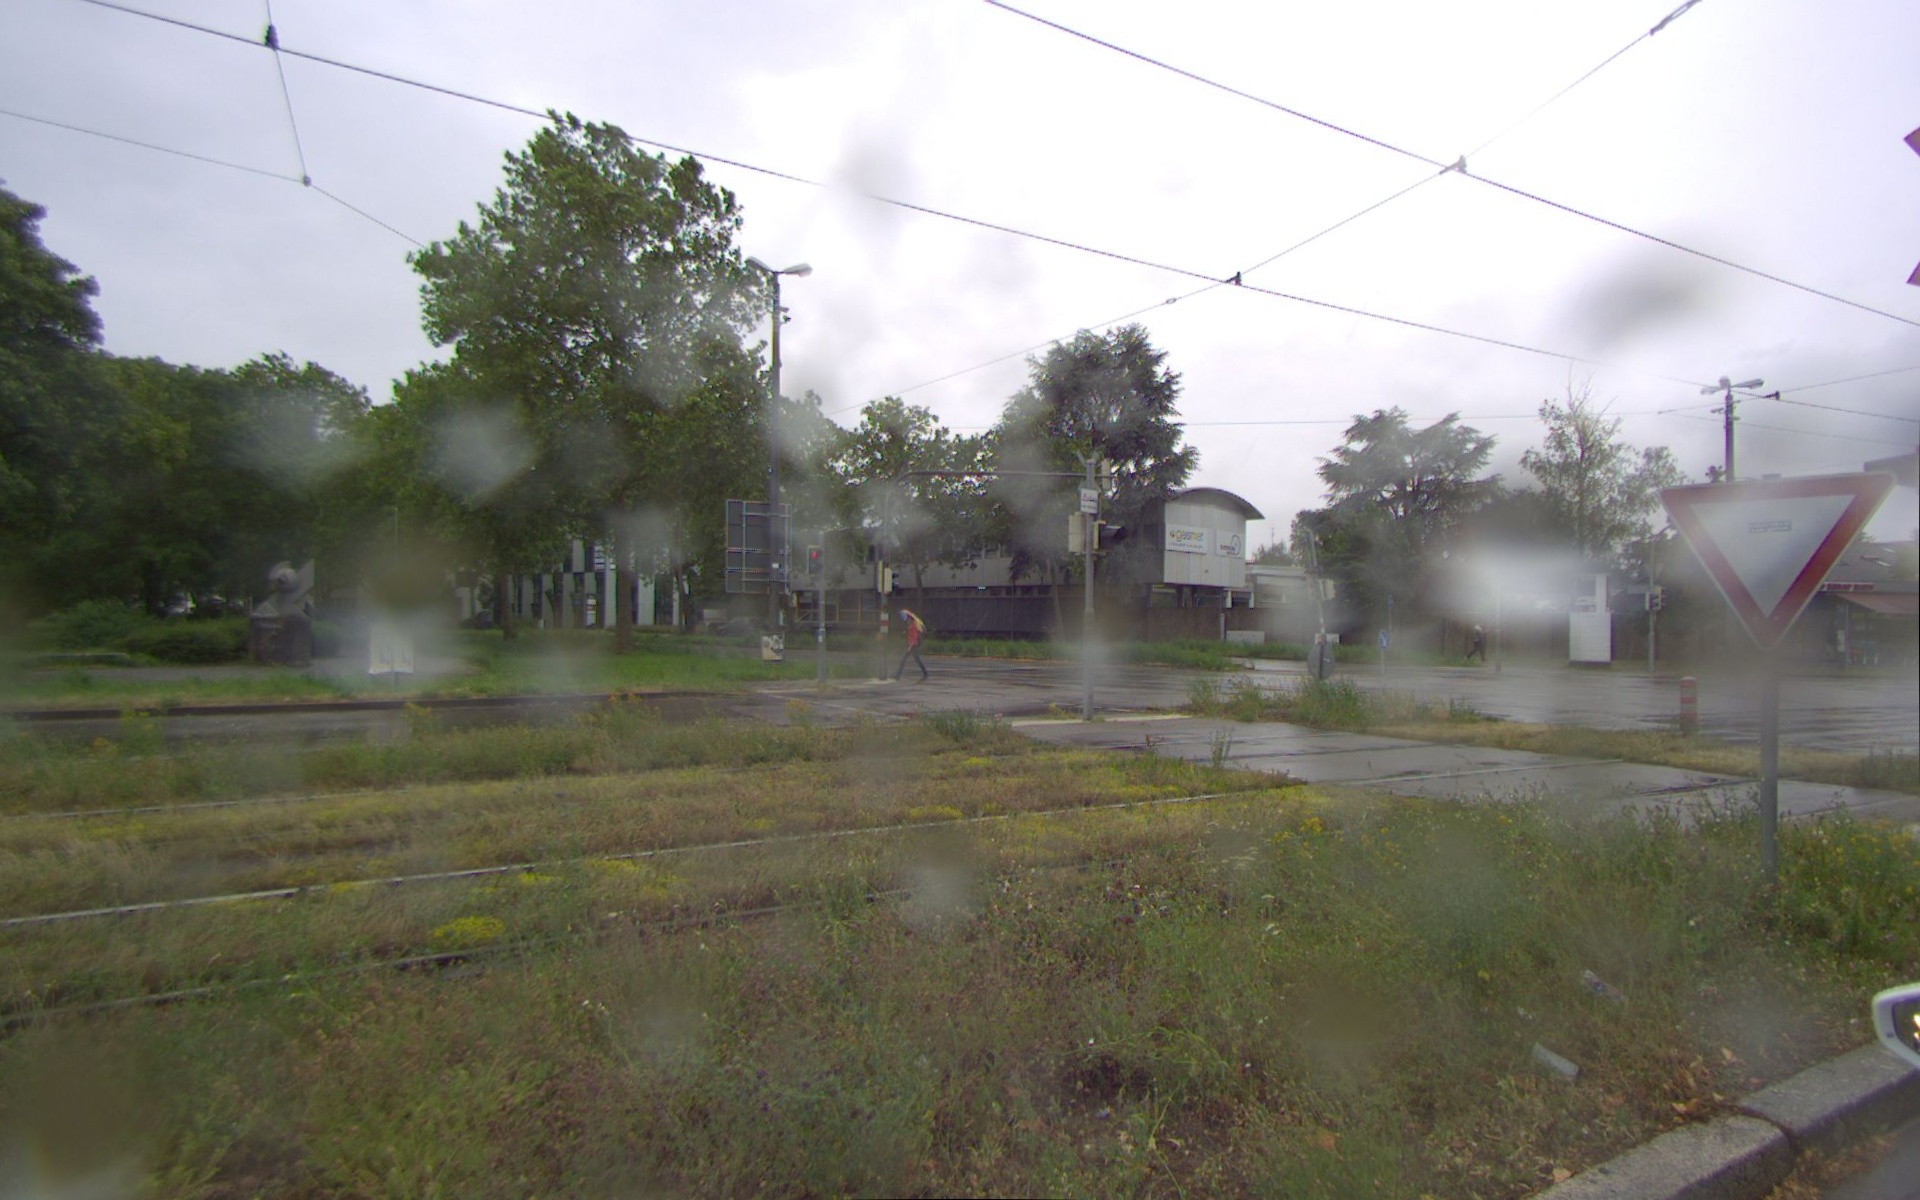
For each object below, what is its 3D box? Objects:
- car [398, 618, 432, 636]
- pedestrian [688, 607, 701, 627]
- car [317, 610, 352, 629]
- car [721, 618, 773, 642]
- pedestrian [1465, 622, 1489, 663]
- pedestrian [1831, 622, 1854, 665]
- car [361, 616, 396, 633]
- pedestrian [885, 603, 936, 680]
[{"bbox_3d":[-59.781,3.002,110.238,3.940,1.806,1.990,2,0,41],"label":"car"},{"bbox_3d":[-22.890,1.470,86.663,0.812,1.690,0.670,2,0,39],"label":"pedestrian"},{"bbox_3d":[-75.301,2.379,120.867,3.932,2.116,2.123,2,0,33],"label":"car"},{"bbox_3d":[-14.153,1.993,66.725,1.679,1.417,4.087,2,0,-39],"label":"car"},{"bbox_3d":[23.426,1.919,45.524,0.870,1.821,0.726,2,1,26],"label":"pedestrian"},{"bbox_3d":[42.995,2.097,48.935,0.714,2.040,0.791,2,0,38],"label":"pedestrian"},{"bbox_3d":[-65.901,2.775,113.860,3.934,1.806,1.993,2,0,36],"label":"car"},{"bbox_3d":[-1.334,1.111,27.197,0.998,2.017,0.945,2,0,-34],"label":"pedestrian"}]
